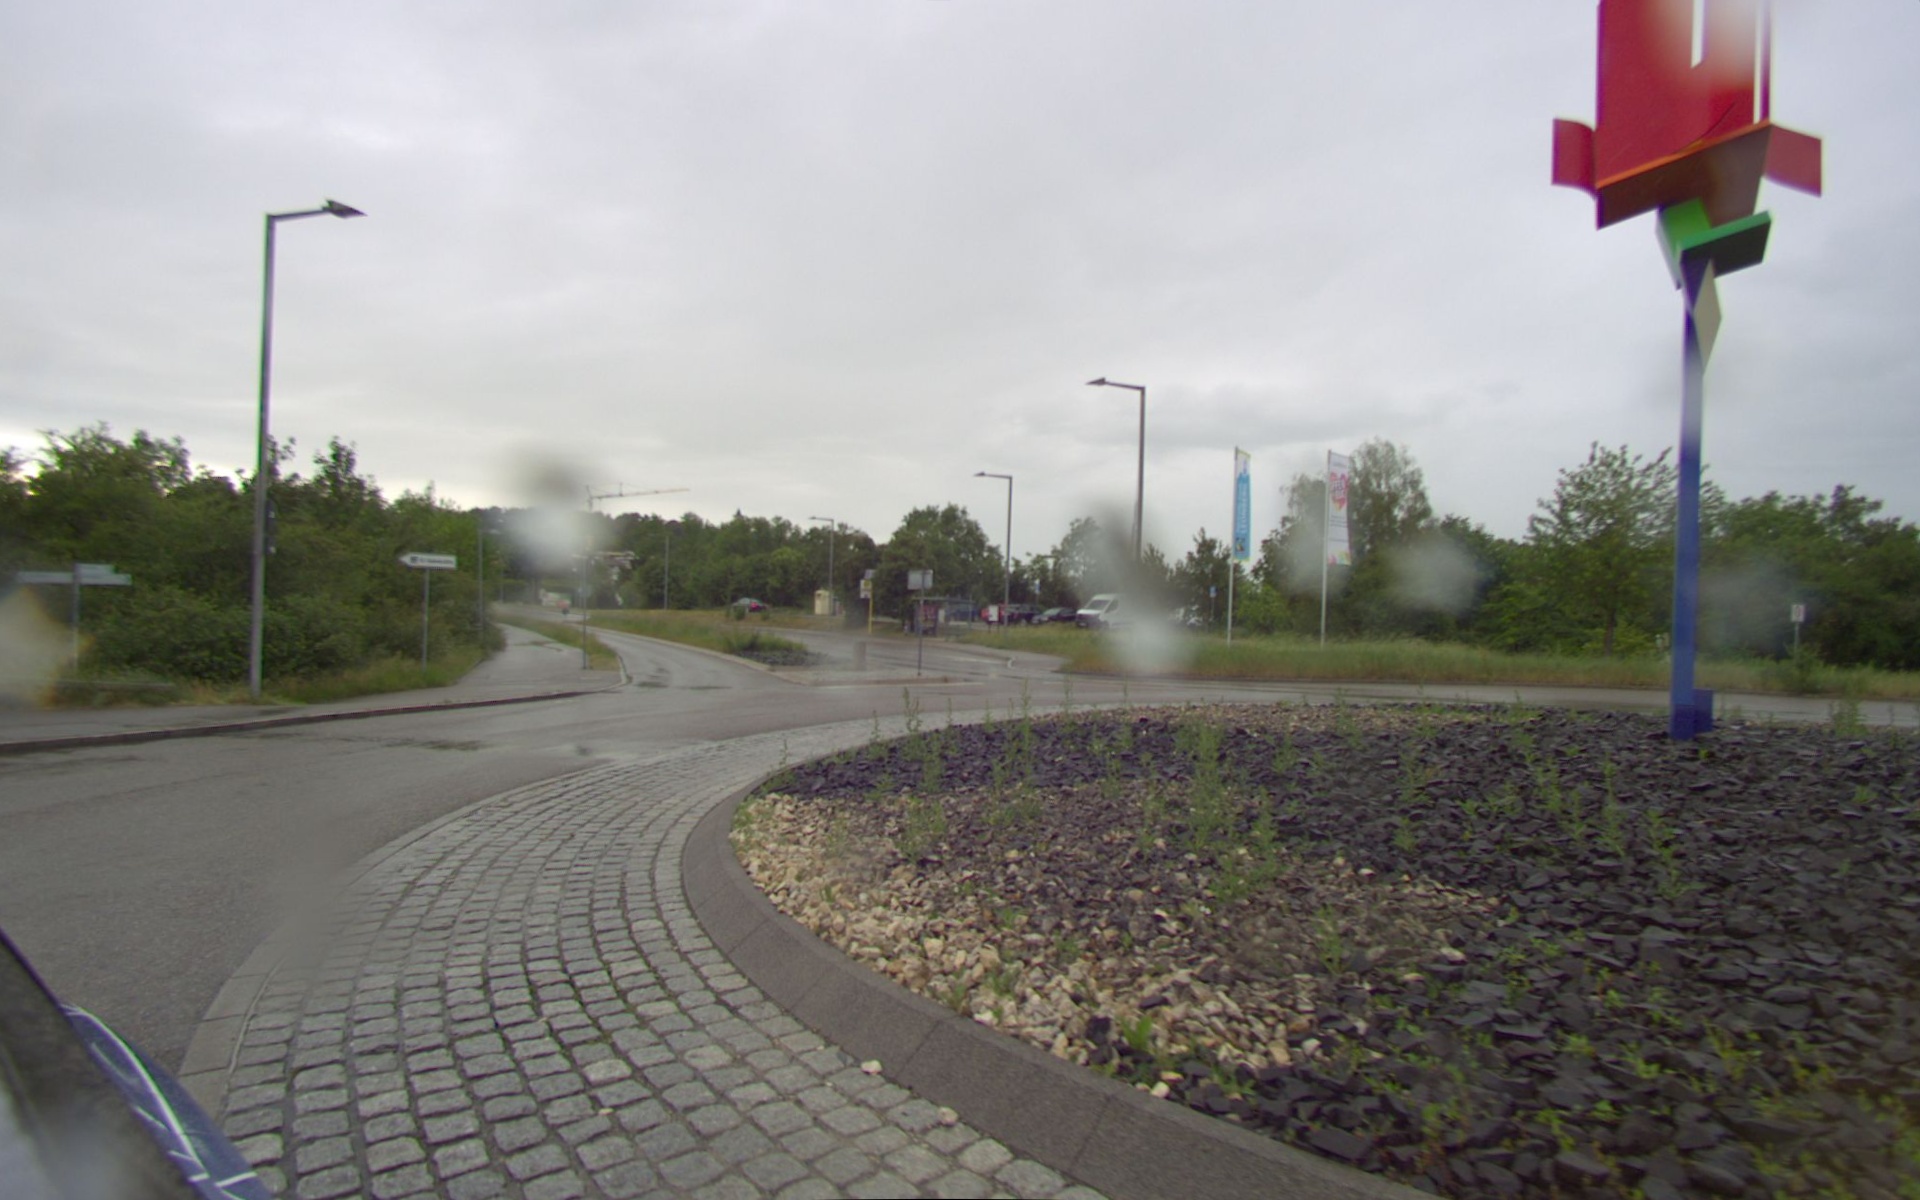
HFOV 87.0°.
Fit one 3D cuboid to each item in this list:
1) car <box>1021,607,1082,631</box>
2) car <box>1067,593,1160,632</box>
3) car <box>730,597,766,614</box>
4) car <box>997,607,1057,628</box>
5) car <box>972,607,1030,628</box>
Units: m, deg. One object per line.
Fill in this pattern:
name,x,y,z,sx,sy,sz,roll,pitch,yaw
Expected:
car,6.337,1.308,69.768,3.933,1.374,1.657,4,-2,-33
car,10.091,0.768,66.106,6.472,2.415,2.143,0,2,-39
car,-20.340,0.541,96.855,1.669,1.580,4.552,-2,0,-36
car,4.771,1.266,71.909,3.932,1.374,1.853,2,-1,-33
car,3.066,1.324,75.131,3.933,1.480,1.852,2,-1,-35
